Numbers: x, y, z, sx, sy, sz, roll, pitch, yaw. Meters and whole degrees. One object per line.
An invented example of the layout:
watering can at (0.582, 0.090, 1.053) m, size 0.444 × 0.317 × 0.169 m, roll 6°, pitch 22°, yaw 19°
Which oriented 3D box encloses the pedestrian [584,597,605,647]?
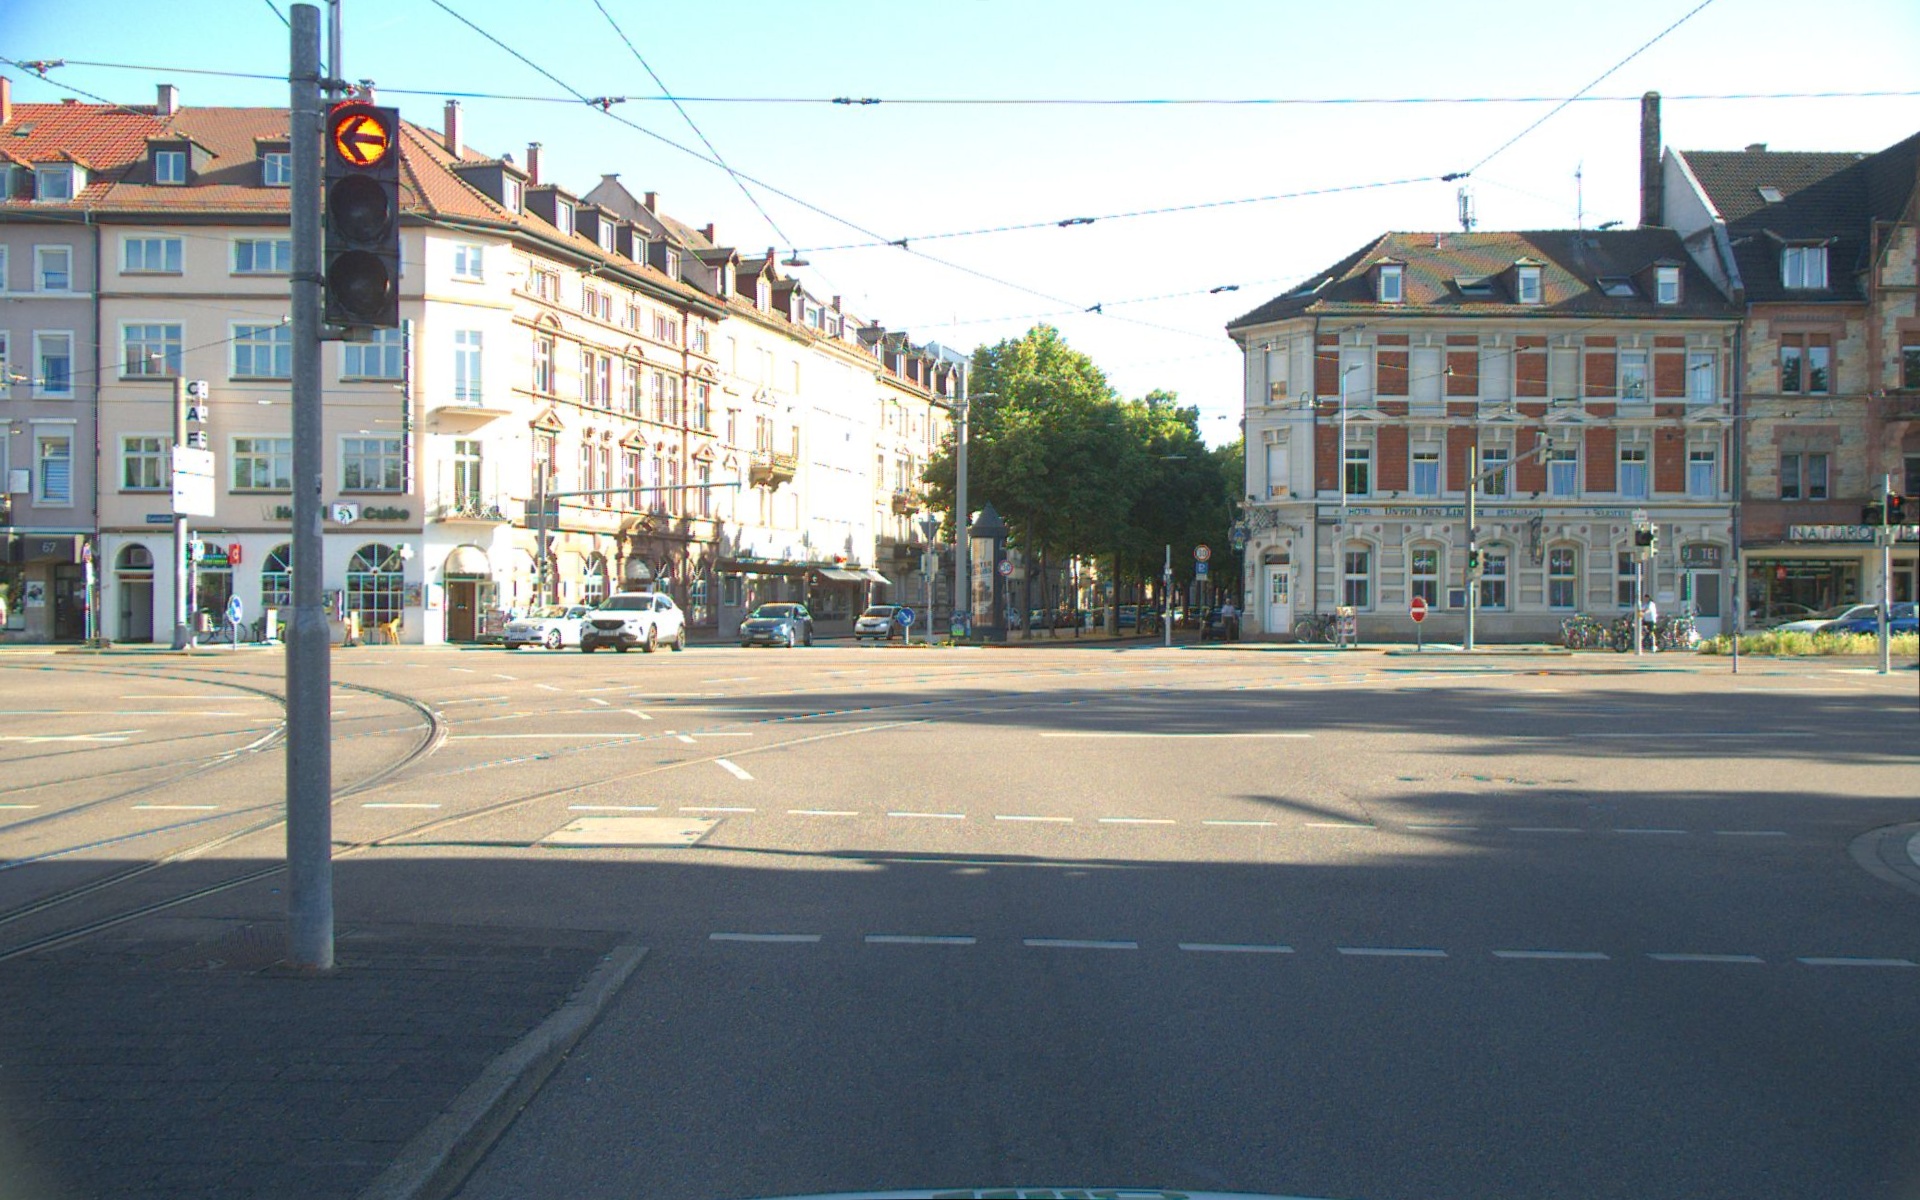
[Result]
pedestrian at (-13.686, 0.819, 61.922) m, size 0.567 × 1.868 × 0.633 m, roll 0°, pitch 0°, yaw 15°

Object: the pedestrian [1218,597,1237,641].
pedestrian at (10.475, 0.740, 64.690) m, size 0.700 × 1.698 × 0.940 m, roll 0°, pitch 0°, yaw 11°

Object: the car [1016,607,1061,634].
car at (4.666, 1.180, 97.413) m, size 1.951 × 1.523 × 4.037 m, roll 0°, pitch 0°, yaw 13°

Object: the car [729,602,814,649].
car at (-6.362, 0.824, 56.343) m, size 1.736 × 1.523 × 4.577 m, roll 0°, pitch 0°, yaw 9°

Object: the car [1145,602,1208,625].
car at (15.274, 0.949, 116.713) m, size 3.913 × 1.572 × 1.996 m, roll 0°, pitch 0°, yaw 30°

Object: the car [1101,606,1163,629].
car at (12.033, 1.208, 115.844) m, size 3.910 × 1.572 × 1.998 m, roll 0°, pitch 0°, yaw 28°

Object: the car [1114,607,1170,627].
car at (14.126, 1.319, 128.623) m, size 3.910 × 1.572 × 1.998 m, roll 0°, pitch 0°, yaw 28°

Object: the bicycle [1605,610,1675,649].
bicycle at (21.060, 0.906, 51.253) m, size 1.920 × 1.211 × 0.602 m, roll 0°, pitch 0°, yaw 2°

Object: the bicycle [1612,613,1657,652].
bicycle at (21.820, 1.031, 53.513) m, size 0.663 × 1.211 × 1.967 m, roll 0°, pitch 0°, yaw 0°

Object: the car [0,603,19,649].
car at (-32.480, 0.821, 52.163) m, size 4.547 × 1.465 × 1.743 m, roll 0°, pitch -1°, yaw -4°

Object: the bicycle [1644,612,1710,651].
bicycle at (23.041, 1.005, 53.134) m, size 1.926 × 1.211 × 0.677 m, roll 0°, pitch 0°, yaw -13°

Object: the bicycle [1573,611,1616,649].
bicycle at (20.519, 0.957, 53.501) m, size 0.663 × 1.211 × 1.967 m, roll 0°, pitch 0°, yaw 0°

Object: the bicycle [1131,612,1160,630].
bicycle at (11.164, 1.265, 99.415) m, size 0.577 × 1.086 × 1.924 m, roll 0°, pitch 0°, yaw -37°

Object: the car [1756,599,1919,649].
car at (25.965, 0.708, 48.960) m, size 3.906 × 1.437 × 1.845 m, roll 0°, pitch 0°, yaw -2°

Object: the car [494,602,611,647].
car at (-13.023, 0.764, 53.109) m, size 1.951 × 1.379 × 4.225 m, roll 0°, pitch 0°, yaw 13°

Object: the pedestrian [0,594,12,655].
pedestrian at (-26.347, 0.666, 45.187) m, size 0.716 × 1.655 × 0.666 m, roll 0°, pitch 0°, yaw -27°

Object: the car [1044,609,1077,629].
car at (8.015, 1.493, 131.914) m, size 1.951 × 1.523 × 4.037 m, roll 0°, pitch 0°, yaw 13°

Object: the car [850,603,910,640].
car at (-3.470, 0.925, 72.572) m, size 1.681 × 1.523 × 3.586 m, roll 0°, pitch 0°, yaw 13°

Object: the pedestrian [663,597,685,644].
pedestrian at (-11.957, 0.845, 69.175) m, size 0.667 × 1.942 × 0.633 m, roll 0°, pitch 0°, yaw 15°

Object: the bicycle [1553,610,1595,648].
bicycle at (19.830, 0.929, 53.464) m, size 0.663 × 1.211 × 1.967 m, roll 0°, pitch 0°, yaw 0°

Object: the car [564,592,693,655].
car at (-8.346, 0.552, 42.062) m, size 1.951 × 1.523 × 4.350 m, roll 0°, pitch 0°, yaw 7°

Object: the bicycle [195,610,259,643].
bicycle at (-24.903, 0.895, 56.203) m, size 1.906 × 1.086 × 0.582 m, roll 0°, pitch 0°, yaw -8°

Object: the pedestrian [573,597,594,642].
pedestrian at (-14.226, 0.737, 62.446) m, size 0.539 × 1.670 × 0.633 m, roll 0°, pitch 0°, yaw 13°

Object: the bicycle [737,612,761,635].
bicycle at (-10.133, 1.124, 79.397) m, size 0.484 × 1.086 × 1.771 m, roll 0°, pitch 0°, yaw 15°

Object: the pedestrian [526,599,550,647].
pedestrian at (-14.547, 0.785, 56.986) m, size 0.617 × 1.670 × 0.553 m, roll 0°, pitch 0°, yaw 13°

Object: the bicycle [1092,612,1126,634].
bicycle at (7.466, 1.158, 82.868) m, size 0.577 × 1.086 × 1.924 m, roll 0°, pitch 0°, yaw -37°

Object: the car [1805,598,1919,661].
car at (25.913, 0.797, 45.964) m, size 3.906 × 1.697 × 1.954 m, roll 0°, pitch 0°, yaw -2°

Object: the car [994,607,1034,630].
car at (3.704, 1.227, 112.926) m, size 1.951 × 1.523 × 4.037 m, roll 0°, pitch 0°, yaw 13°

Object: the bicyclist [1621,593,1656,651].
bicyclist at (21.019, 0.680, 51.260) m, size 0.854 × 1.795 × 0.602 m, roll 0°, pitch 0°, yaw 2°

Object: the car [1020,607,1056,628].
car at (5.796, 1.307, 122.679) m, size 1.951 × 1.523 × 4.037 m, roll 0°, pitch 0°, yaw 13°

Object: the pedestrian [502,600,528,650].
pedestrian at (-14.958, 0.829, 55.598) m, size 0.661 × 1.670 × 0.579 m, roll 0°, pitch 0°, yaw 13°

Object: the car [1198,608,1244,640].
car at (13.072, 1.162, 82.611) m, size 1.951 × 1.523 × 4.037 m, roll 0°, pitch 0°, yaw 13°

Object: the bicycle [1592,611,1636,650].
bicycle at (21.157, 0.971, 53.511) m, size 0.663 × 1.211 × 1.967 m, roll 0°, pitch 0°, yaw 0°

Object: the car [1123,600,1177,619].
car at (15.496, 0.769, 134.656) m, size 3.910 × 1.572 × 1.998 m, roll 0°, pitch 0°, yaw 28°

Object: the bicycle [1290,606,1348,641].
bicycle at (12.456, 0.801, 57.368) m, size 1.919 × 1.211 × 0.546 m, roll 0°, pitch 0°, yaw 4°

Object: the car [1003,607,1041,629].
car at (4.450, 1.259, 117.423) m, size 1.951 × 1.523 × 4.037 m, roll 0°, pitch 0°, yaw 13°

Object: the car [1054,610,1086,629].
car at (9.115, 1.607, 136.661) m, size 1.951 × 1.523 × 4.037 m, roll 0°, pitch 0°, yaw 13°
